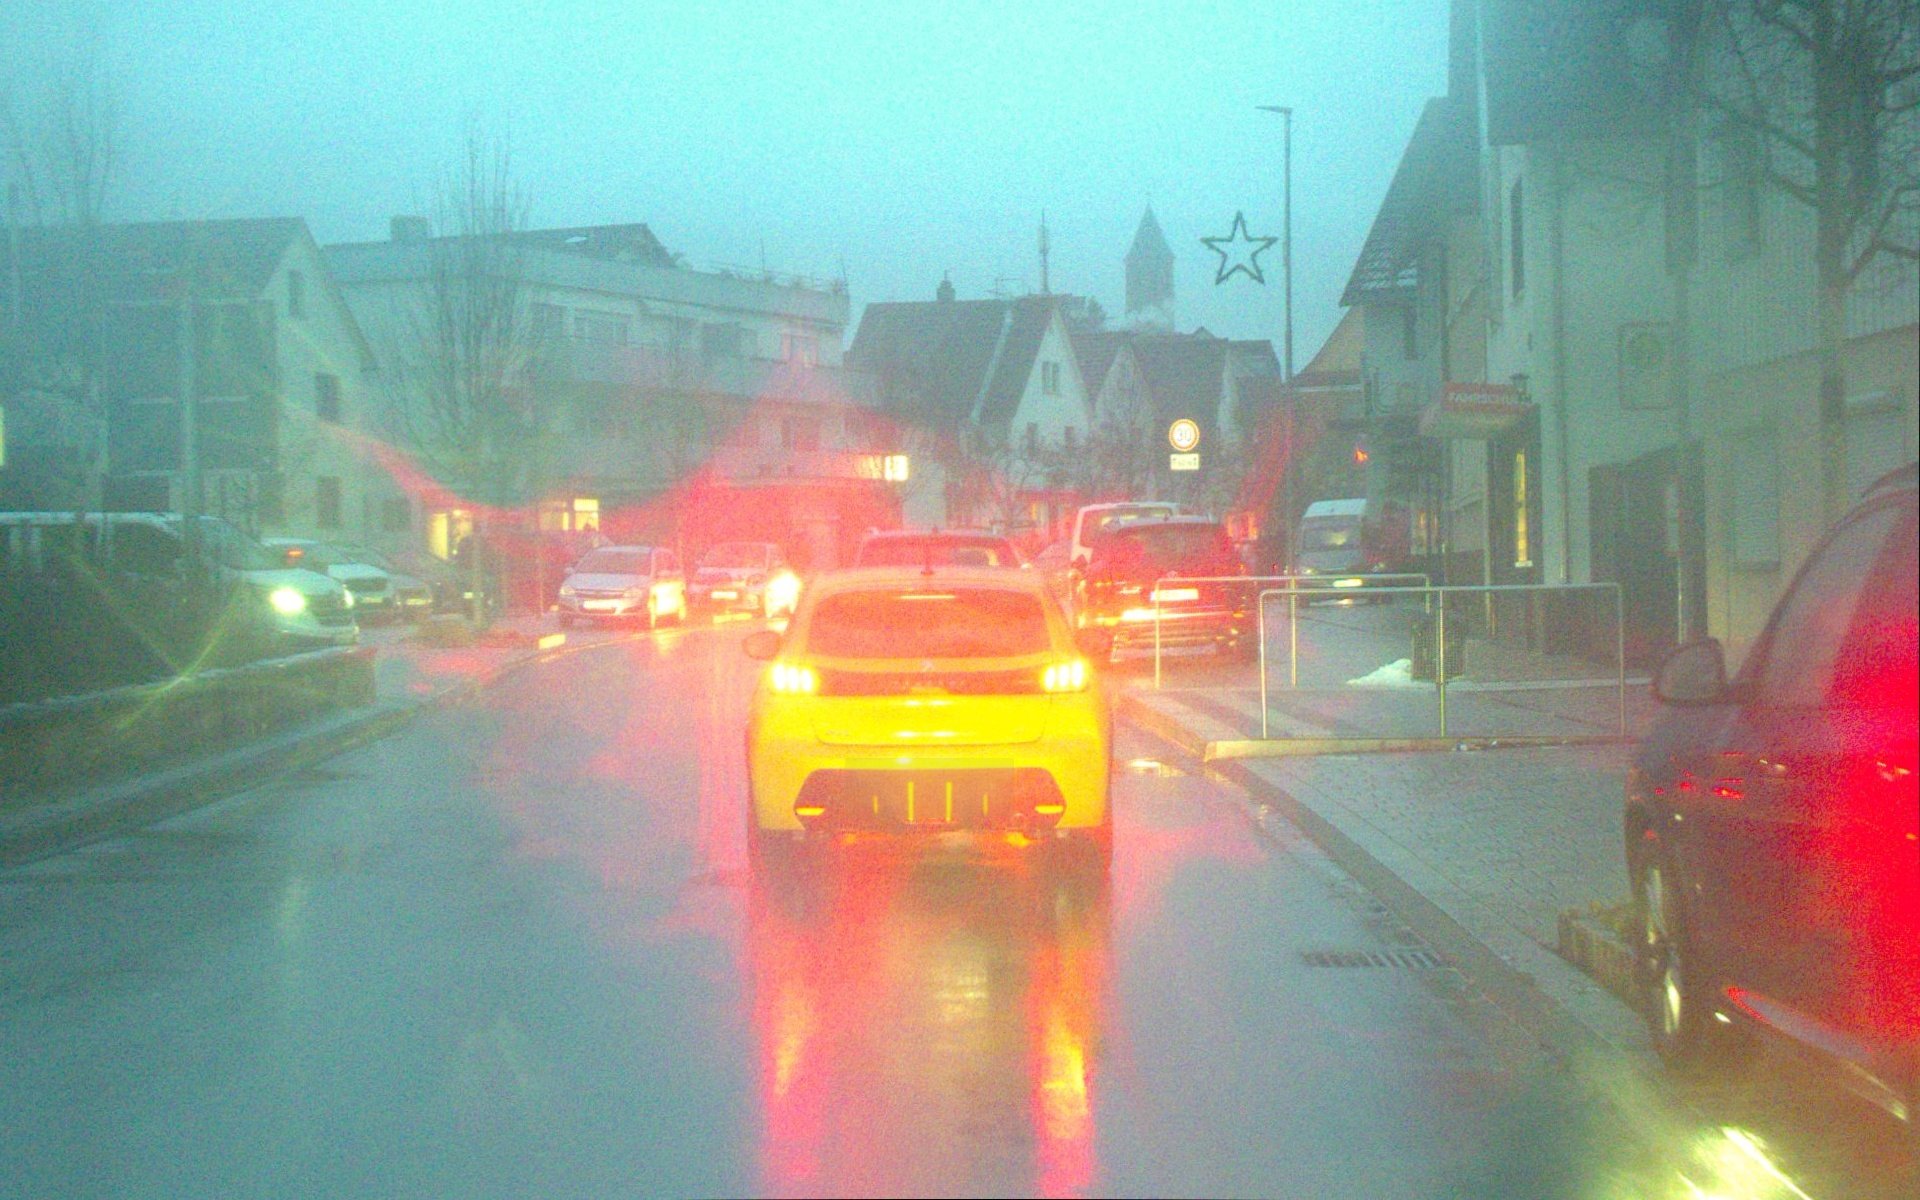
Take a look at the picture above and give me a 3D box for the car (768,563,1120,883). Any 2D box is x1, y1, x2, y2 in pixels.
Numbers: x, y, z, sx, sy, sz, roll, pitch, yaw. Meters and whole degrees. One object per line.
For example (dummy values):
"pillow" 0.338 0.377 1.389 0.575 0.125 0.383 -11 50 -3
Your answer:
"car" -0.087 0.539 16.979 1.563 1.408 3.018 1 1 -1

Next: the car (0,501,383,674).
"car" -9.419 -0.172 38.958 5.399 1.811 1.711 2 0 13

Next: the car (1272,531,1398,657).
"car" 7.025 -0.078 64.735 1.993 2.241 3.999 1 -2 1

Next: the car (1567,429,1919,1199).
"car" 2.707 0.491 7.917 1.735 1.686 4.386 -1 1 -1

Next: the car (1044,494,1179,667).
"car" 2.263 -0.241 52.296 1.870 2.461 4.443 1 -2 1

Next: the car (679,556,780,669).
"car" -4.706 0.288 70.621 1.919 2.208 3.975 1 -2 -2

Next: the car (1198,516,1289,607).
"car" 6.313 -0.830 76.281 1.871 1.828 4.442 1 -2 6

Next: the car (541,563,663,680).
"car" -6.470 0.418 62.463 1.919 2.021 3.975 1 -2 -2

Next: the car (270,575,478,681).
"car" -11.383 0.545 66.619 4.166 1.969 1.818 0 -2 44

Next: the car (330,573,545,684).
"car" -10.591 0.585 69.520 4.383 2.159 1.995 0 -2 44

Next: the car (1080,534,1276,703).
"car" 2.475 0.201 39.927 1.997 1.858 4.083 0 0 0

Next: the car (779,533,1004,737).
"car" -0.531 0.257 29.678 1.766 1.623 3.586 1 1 1

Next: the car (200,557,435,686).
"car" -11.820 0.411 63.110 4.383 2.244 1.995 0 -2 44
